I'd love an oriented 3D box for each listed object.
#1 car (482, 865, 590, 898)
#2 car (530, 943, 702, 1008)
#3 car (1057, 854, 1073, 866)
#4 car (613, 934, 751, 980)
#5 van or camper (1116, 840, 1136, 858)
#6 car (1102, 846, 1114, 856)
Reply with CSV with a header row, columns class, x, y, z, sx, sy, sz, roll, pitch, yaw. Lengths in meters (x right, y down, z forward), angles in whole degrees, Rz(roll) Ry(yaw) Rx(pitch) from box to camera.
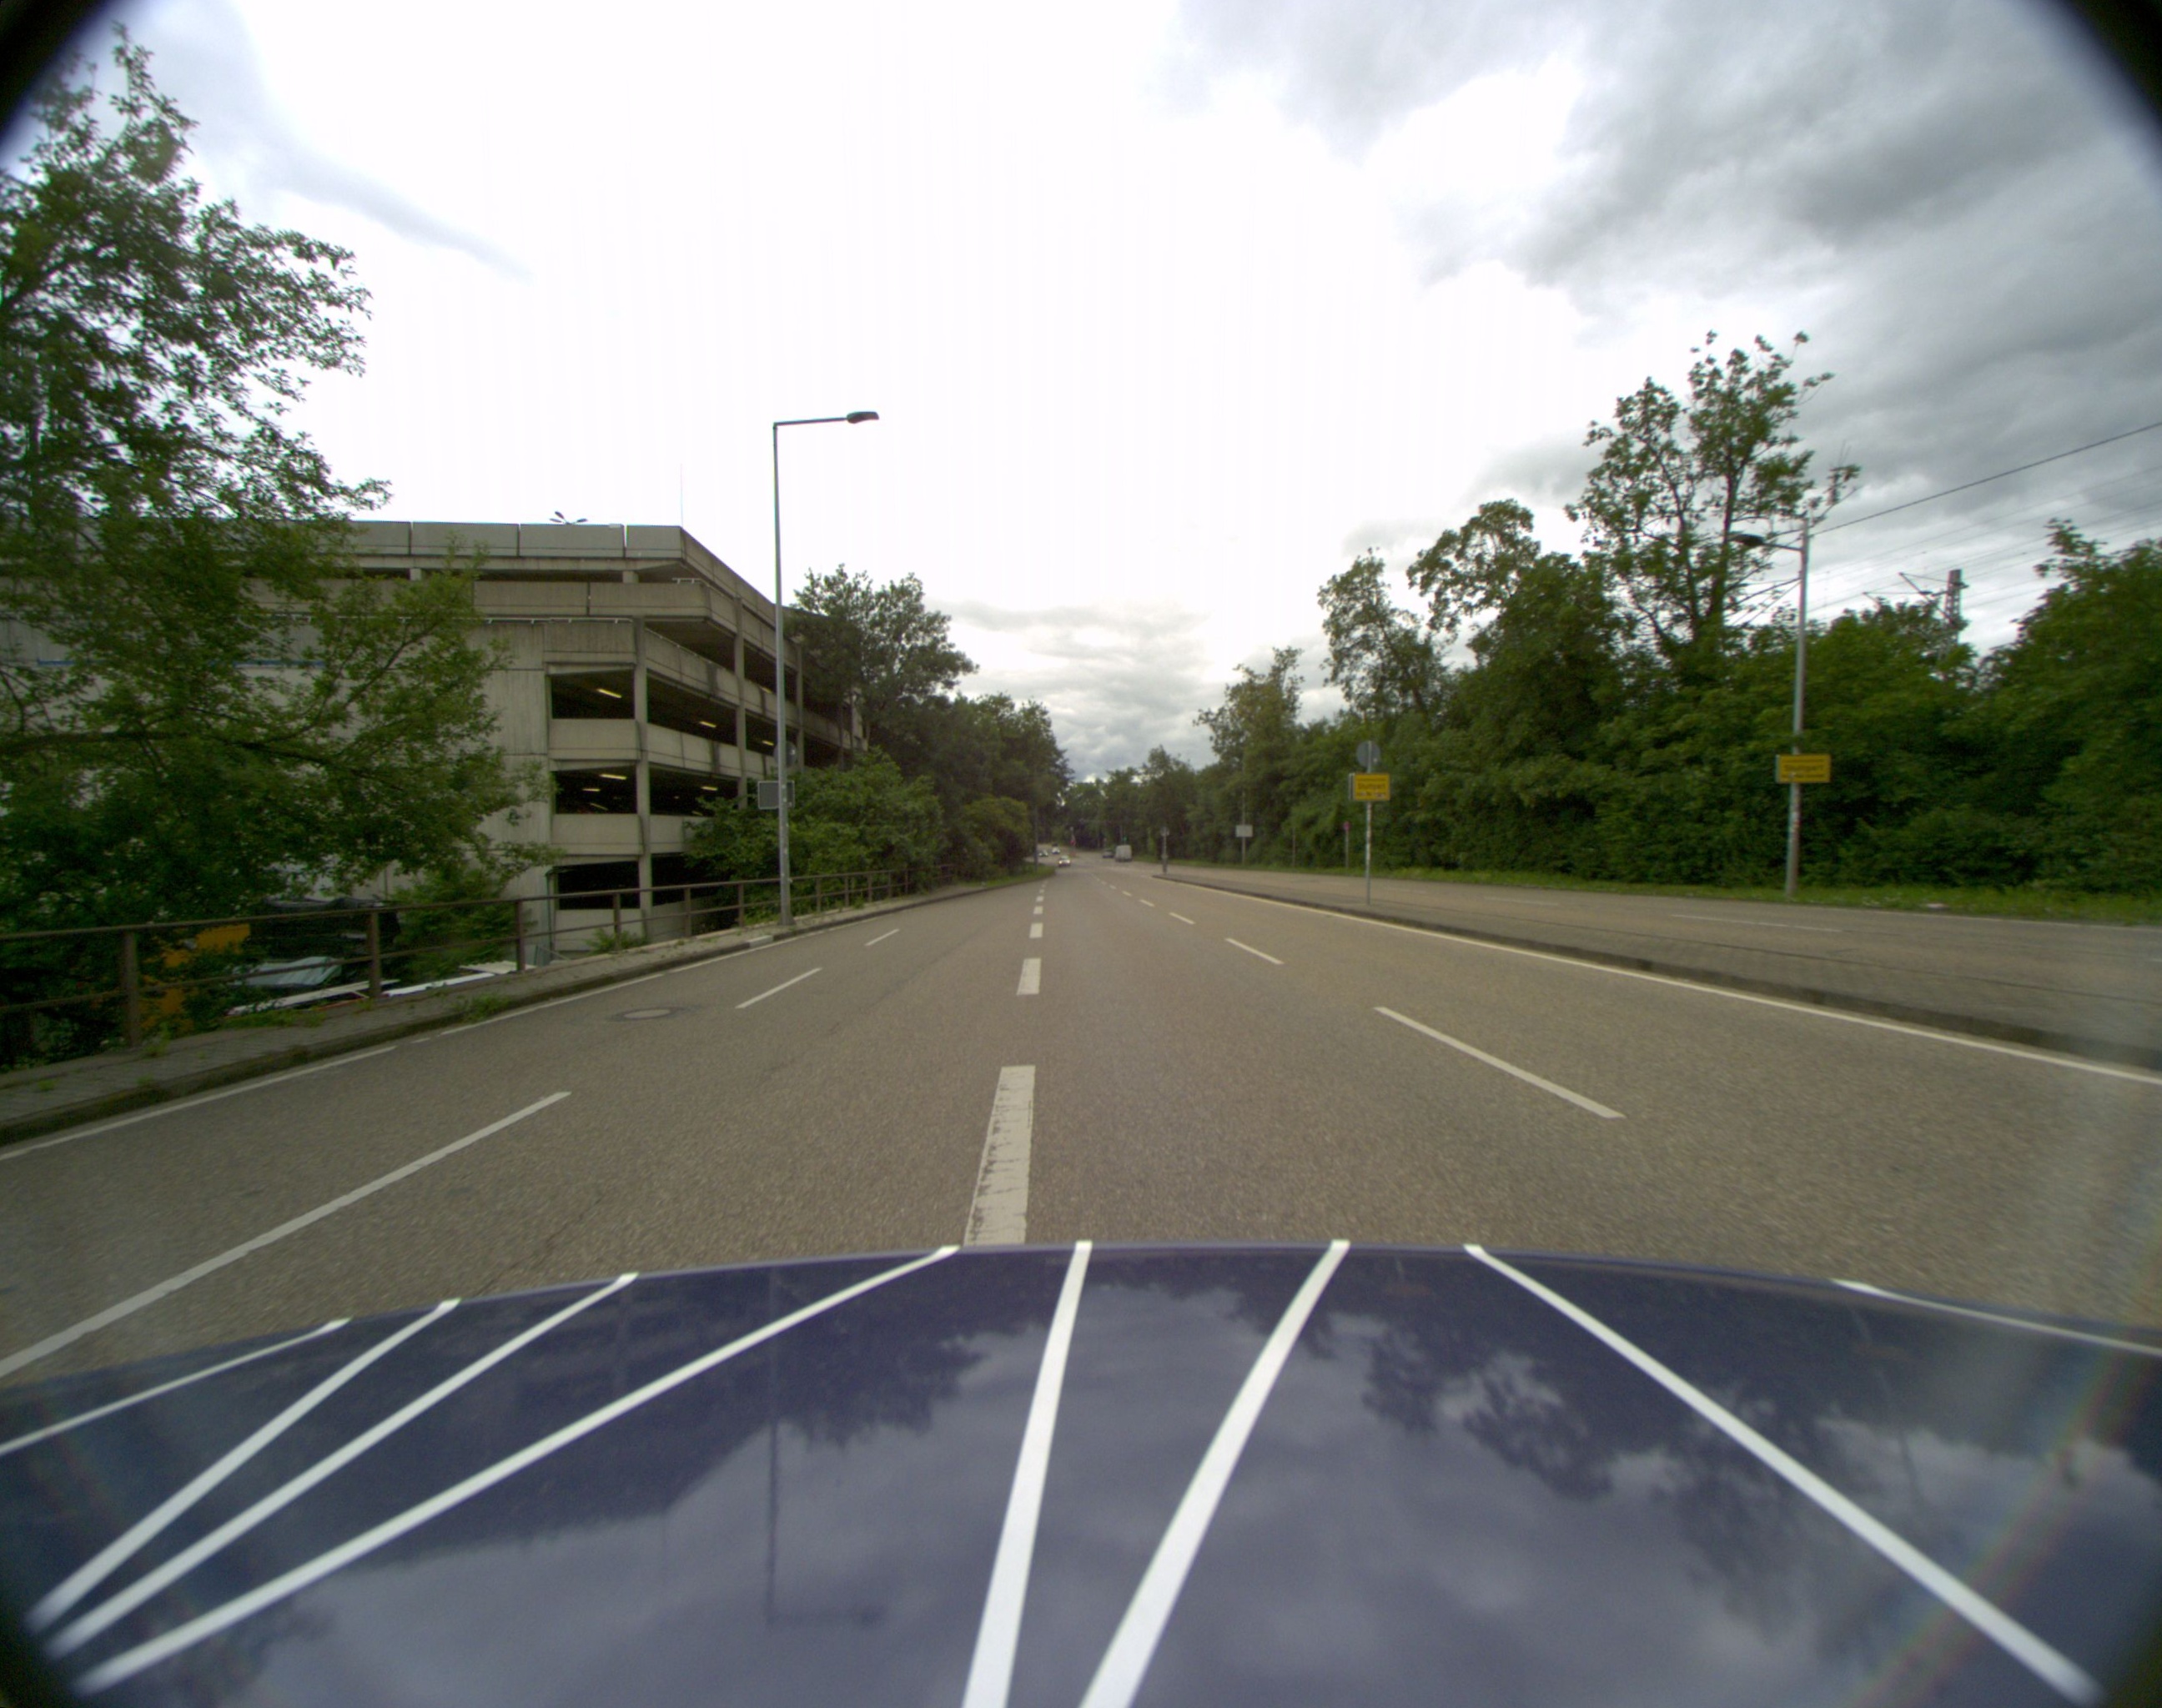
class,x,y,z,sx,sy,sz,roll,pitch,yaw
car,-27.647,1.383,38.666,3.998,1.471,1.874,-1,3,-3
car,-16.365,4.263,26.978,4.758,1.775,1.998,-1,2,-4
car,-2.247,0.863,107.014,1.854,1.471,4.509,-5,1,2
car,-16.683,4.307,32.002,4.664,1.422,1.998,-1,3,-4
van or camper,7.188,-0.763,121.559,2.289,2.540,6.857,-5,1,-2
car,5.180,-0.597,147.371,1.818,1.819,4.382,-1,0,-4
